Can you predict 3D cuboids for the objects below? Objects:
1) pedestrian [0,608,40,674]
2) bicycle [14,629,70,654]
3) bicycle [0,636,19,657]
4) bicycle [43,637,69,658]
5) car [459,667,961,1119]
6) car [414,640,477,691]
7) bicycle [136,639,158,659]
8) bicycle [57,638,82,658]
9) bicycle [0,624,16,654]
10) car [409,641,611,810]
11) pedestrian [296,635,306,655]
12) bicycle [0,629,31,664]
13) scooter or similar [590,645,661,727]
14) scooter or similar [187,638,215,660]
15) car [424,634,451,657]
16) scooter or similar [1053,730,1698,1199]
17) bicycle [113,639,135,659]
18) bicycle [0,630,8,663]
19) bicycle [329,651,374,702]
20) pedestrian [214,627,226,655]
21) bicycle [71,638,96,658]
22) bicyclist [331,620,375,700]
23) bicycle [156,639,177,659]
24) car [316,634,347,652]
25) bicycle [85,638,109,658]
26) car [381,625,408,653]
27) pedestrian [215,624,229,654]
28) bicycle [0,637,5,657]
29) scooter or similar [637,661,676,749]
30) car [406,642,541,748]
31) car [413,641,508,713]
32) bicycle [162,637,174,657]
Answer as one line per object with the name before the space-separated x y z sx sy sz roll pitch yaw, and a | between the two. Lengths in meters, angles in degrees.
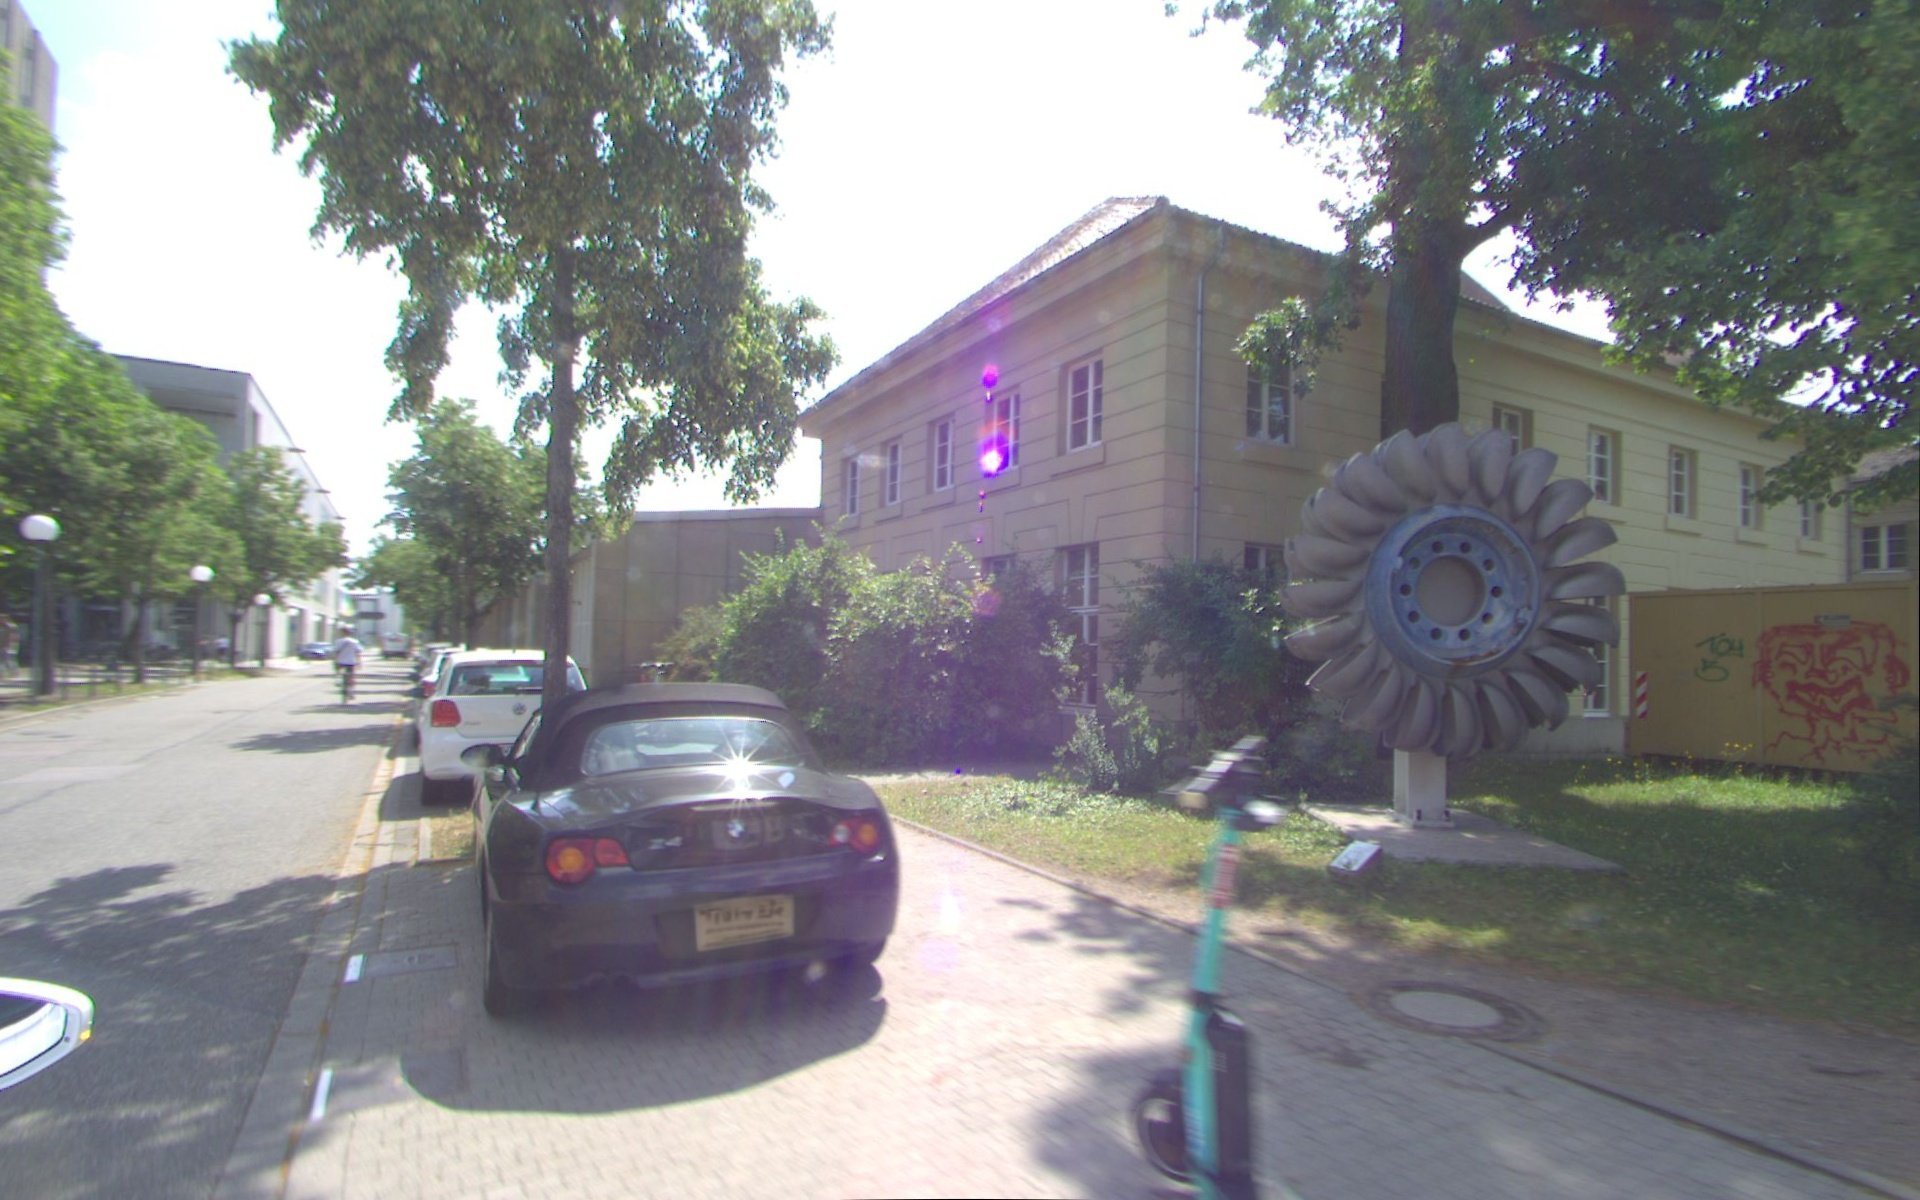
pedestrian | -29.412 1.280 31.015 0.905 1.978 0.891 4 -4 -18
bicycle | -47.297 2.160 51.602 0.578 1.269 2.013 0 -2 29
bicycle | -52.577 2.575 55.146 0.546 1.099 1.964 5 -4 -28
bicycle | -50.776 2.669 56.227 0.546 1.099 1.964 5 -4 -28
car | -1.664 1.074 5.300 1.688 1.296 3.984 3 -3 -27
car | -17.323 2.140 33.624 1.685 1.594 4.120 2 -3 -30
bicycle | -47.240 2.840 58.182 0.546 1.099 1.964 5 -4 -28
bicycle | -50.151 2.688 56.427 0.546 1.099 1.964 5 -4 -28
bicycle | -48.411 1.897 49.581 0.597 1.467 2.283 0 -3 28
car | -5.064 1.215 10.980 1.570 1.484 3.969 3 -3 -30
pedestrian | -59.652 4.051 90.628 0.645 1.722 0.882 4 -3 -39
bicycle | -35.548 1.663 36.738 0.800 1.249 2.044 0 -5 44
scooter or similar | -5.584 1.412 16.773 0.585 1.283 1.266 1 -1 9
scooter or similar | -41.403 2.687 54.647 0.333 1.190 1.329 2 -3 7
car | -38.109 3.323 73.020 1.598 1.557 3.764 3 -3 -28
scooter or similar | 0.761 0.982 2.249 0.545 1.269 1.379 2 -3 -20
bicycle | -48.343 2.814 57.912 0.546 1.099 1.964 5 -4 -28
bicycle | -34.236 1.597 34.680 0.454 1.145 1.764 0 -4 44
bicycle | -15.837 1.971 26.116 0.873 1.214 2.736 3 -3 -30
pedestrian | -49.342 2.738 66.767 0.444 1.797 0.440 1 -3 31
bicycle | -49.638 2.715 56.741 0.546 1.099 1.964 5 -4 -28
bicyclist | -15.816 1.569 26.125 0.864 2.038 0.845 3 -3 -30
bicycle | -46.325 2.867 58.466 0.546 1.099 1.964 5 -4 -28
car | -53.194 3.652 84.789 1.746 1.445 4.219 3 -4 -27
bicycle | -49.179 2.743 57.068 0.546 1.099 1.964 5 -4 -28
car | -55.199 3.841 97.763 2.061 2.570 4.296 4 -4 -28
pedestrian | -48.470 2.559 65.735 0.653 1.965 0.412 1 -3 33
bicycle | -53.095 2.548 54.832 0.546 1.099 1.964 5 -4 -28
scooter or similar | -4.559 1.542 15.018 0.512 1.237 1.234 1 -2 -18
car | -7.903 1.417 16.082 1.629 1.408 3.968 2 -2 -30
car | -11.829 1.741 23.561 1.707 1.485 4.649 2 -3 -30
bicycle | -42.333 2.528 53.537 0.379 1.038 1.800 4 -4 -40
